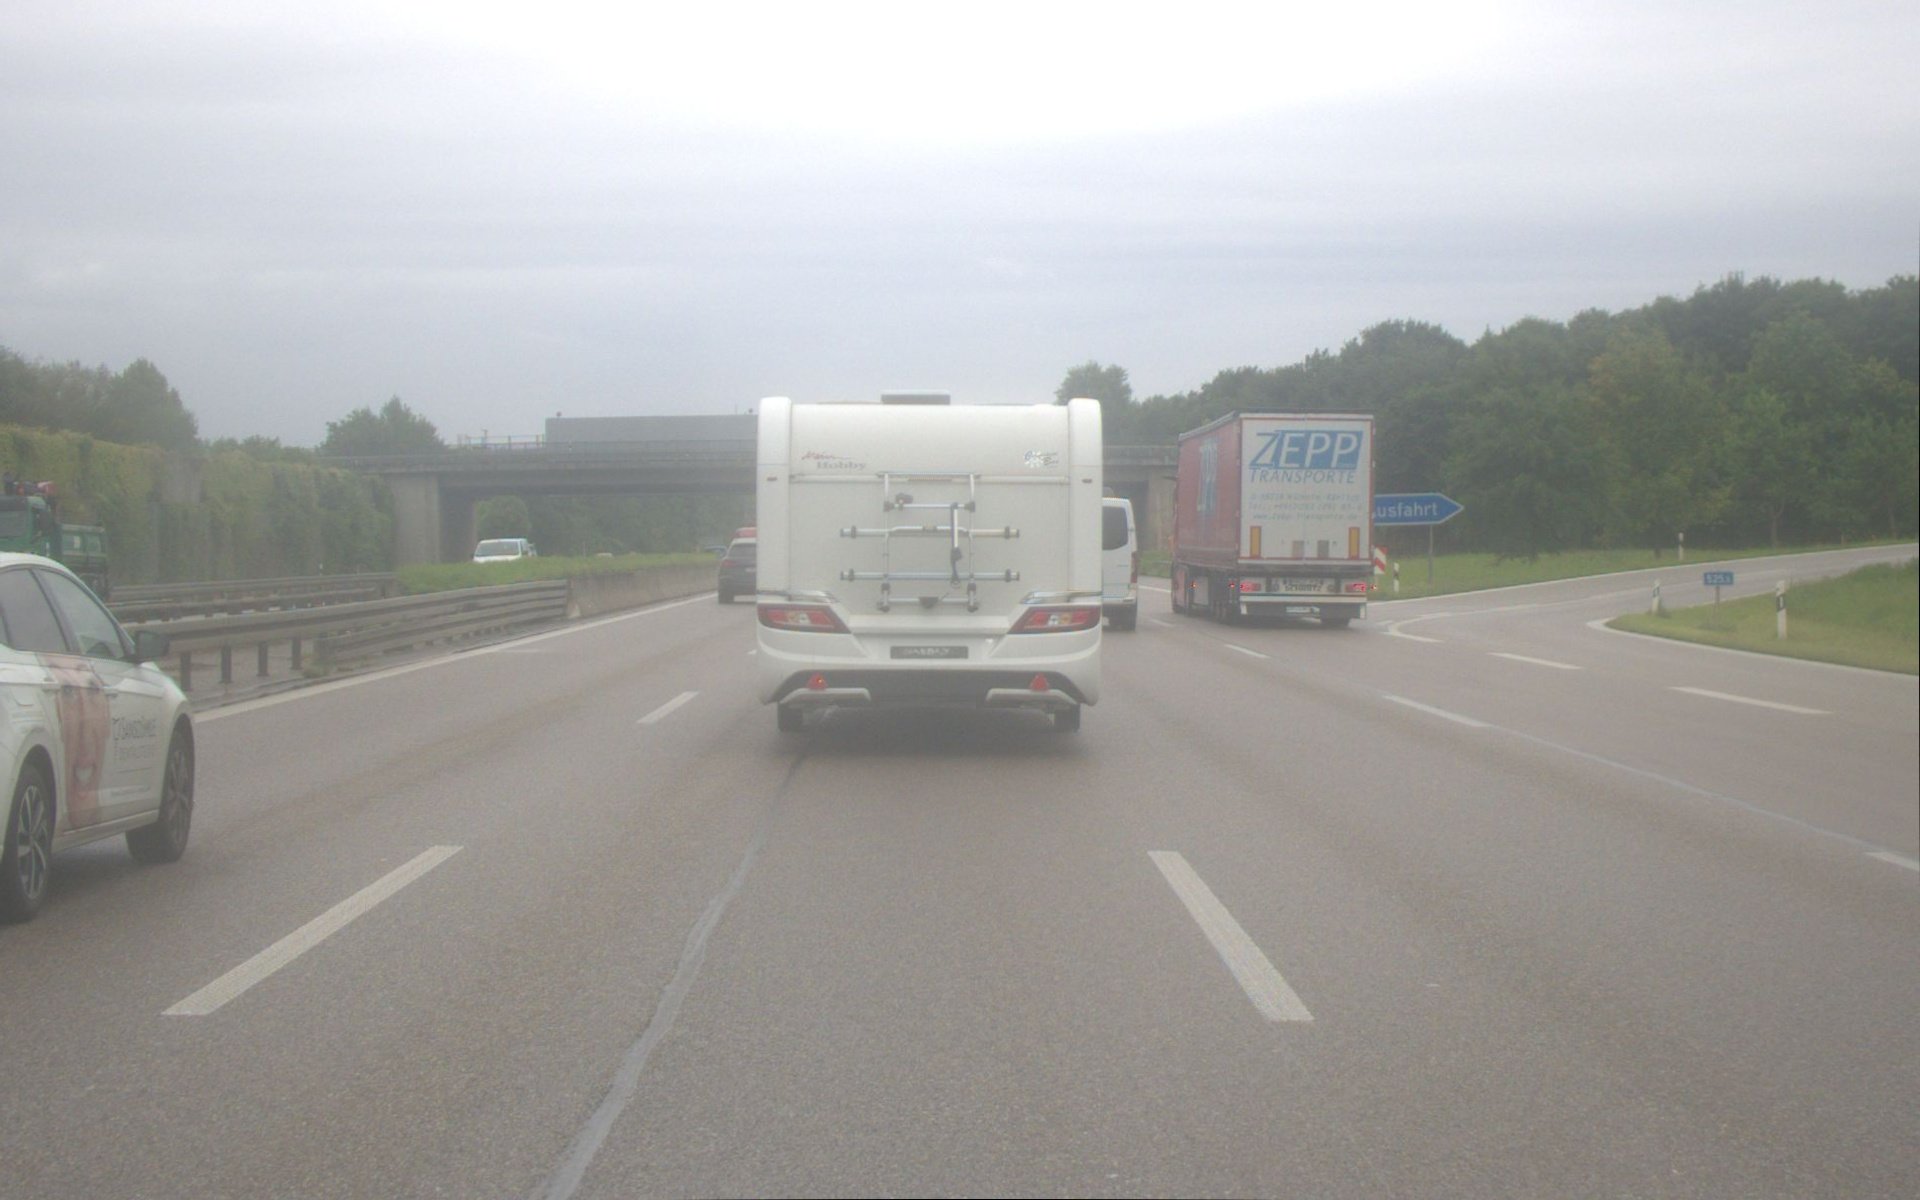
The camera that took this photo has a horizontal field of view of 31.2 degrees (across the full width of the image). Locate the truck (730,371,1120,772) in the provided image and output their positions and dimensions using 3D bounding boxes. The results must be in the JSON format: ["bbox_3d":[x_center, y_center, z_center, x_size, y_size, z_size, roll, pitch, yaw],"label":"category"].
[{"bbox_3d":[-0.287,-0.229,26.327,2.661,2.733,5.078,1,1,-1],"label":"truck"}]

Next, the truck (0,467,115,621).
[{"bbox_3d":[-24.021,-1.432,88.446,2.691,3.764,8.338,1,1,-2],"label":"truck"}]

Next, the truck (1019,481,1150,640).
[{"bbox_3d":[2.224,-0.729,63.052,2.053,2.760,5.549,1,1,-1],"label":"truck"}]

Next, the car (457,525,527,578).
[{"bbox_3d":[-17.794,-1.863,131.009,2.080,2.007,5.195,0,1,-1],"label":"car"}]

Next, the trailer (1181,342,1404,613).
[{"bbox_3d":[6.456,-2.314,68.746,3.100,4.905,11.791,1,1,-1],"label":"trailer"}]

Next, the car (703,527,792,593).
[{"bbox_3d":[-5.381,-1.019,87.664,1.993,1.594,5.124,1,1,-1],"label":"car"}]

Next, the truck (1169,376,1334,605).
[{"bbox_3d":[6.373,-2.363,75.963,3.048,4.822,5.850,1,1,0],"label":"truck"}]

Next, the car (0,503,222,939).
[{"bbox_3d":[-4.450,0.415,14.447,1.753,1.612,4.664,0,1,-1],"label":"car"}]
